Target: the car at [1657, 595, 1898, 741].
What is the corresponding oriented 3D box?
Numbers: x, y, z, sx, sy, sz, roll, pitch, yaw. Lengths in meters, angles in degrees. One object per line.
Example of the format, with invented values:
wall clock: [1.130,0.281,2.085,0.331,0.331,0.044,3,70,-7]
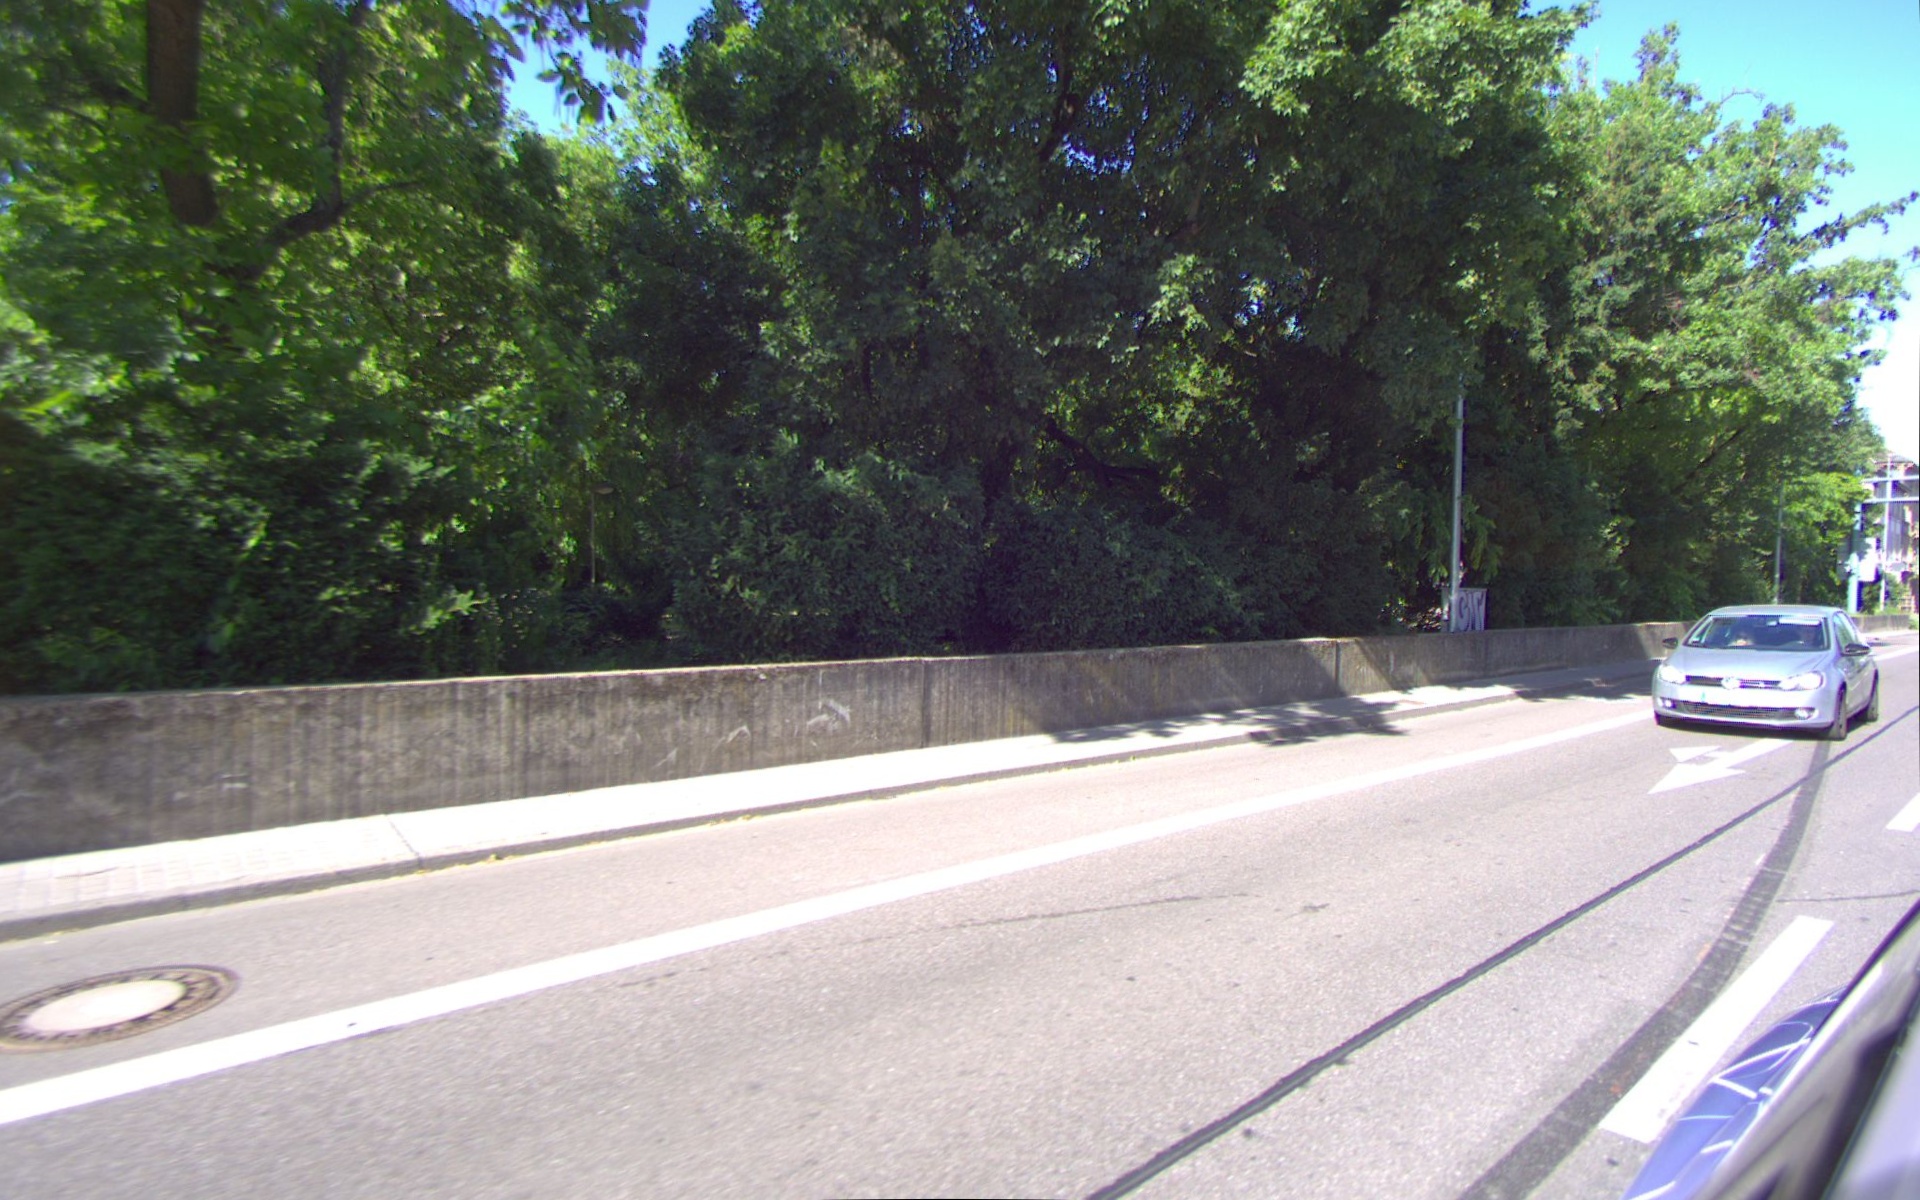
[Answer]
car: [10.159,0.696,12.476,3.931,1.493,1.701,0,1,-42]
